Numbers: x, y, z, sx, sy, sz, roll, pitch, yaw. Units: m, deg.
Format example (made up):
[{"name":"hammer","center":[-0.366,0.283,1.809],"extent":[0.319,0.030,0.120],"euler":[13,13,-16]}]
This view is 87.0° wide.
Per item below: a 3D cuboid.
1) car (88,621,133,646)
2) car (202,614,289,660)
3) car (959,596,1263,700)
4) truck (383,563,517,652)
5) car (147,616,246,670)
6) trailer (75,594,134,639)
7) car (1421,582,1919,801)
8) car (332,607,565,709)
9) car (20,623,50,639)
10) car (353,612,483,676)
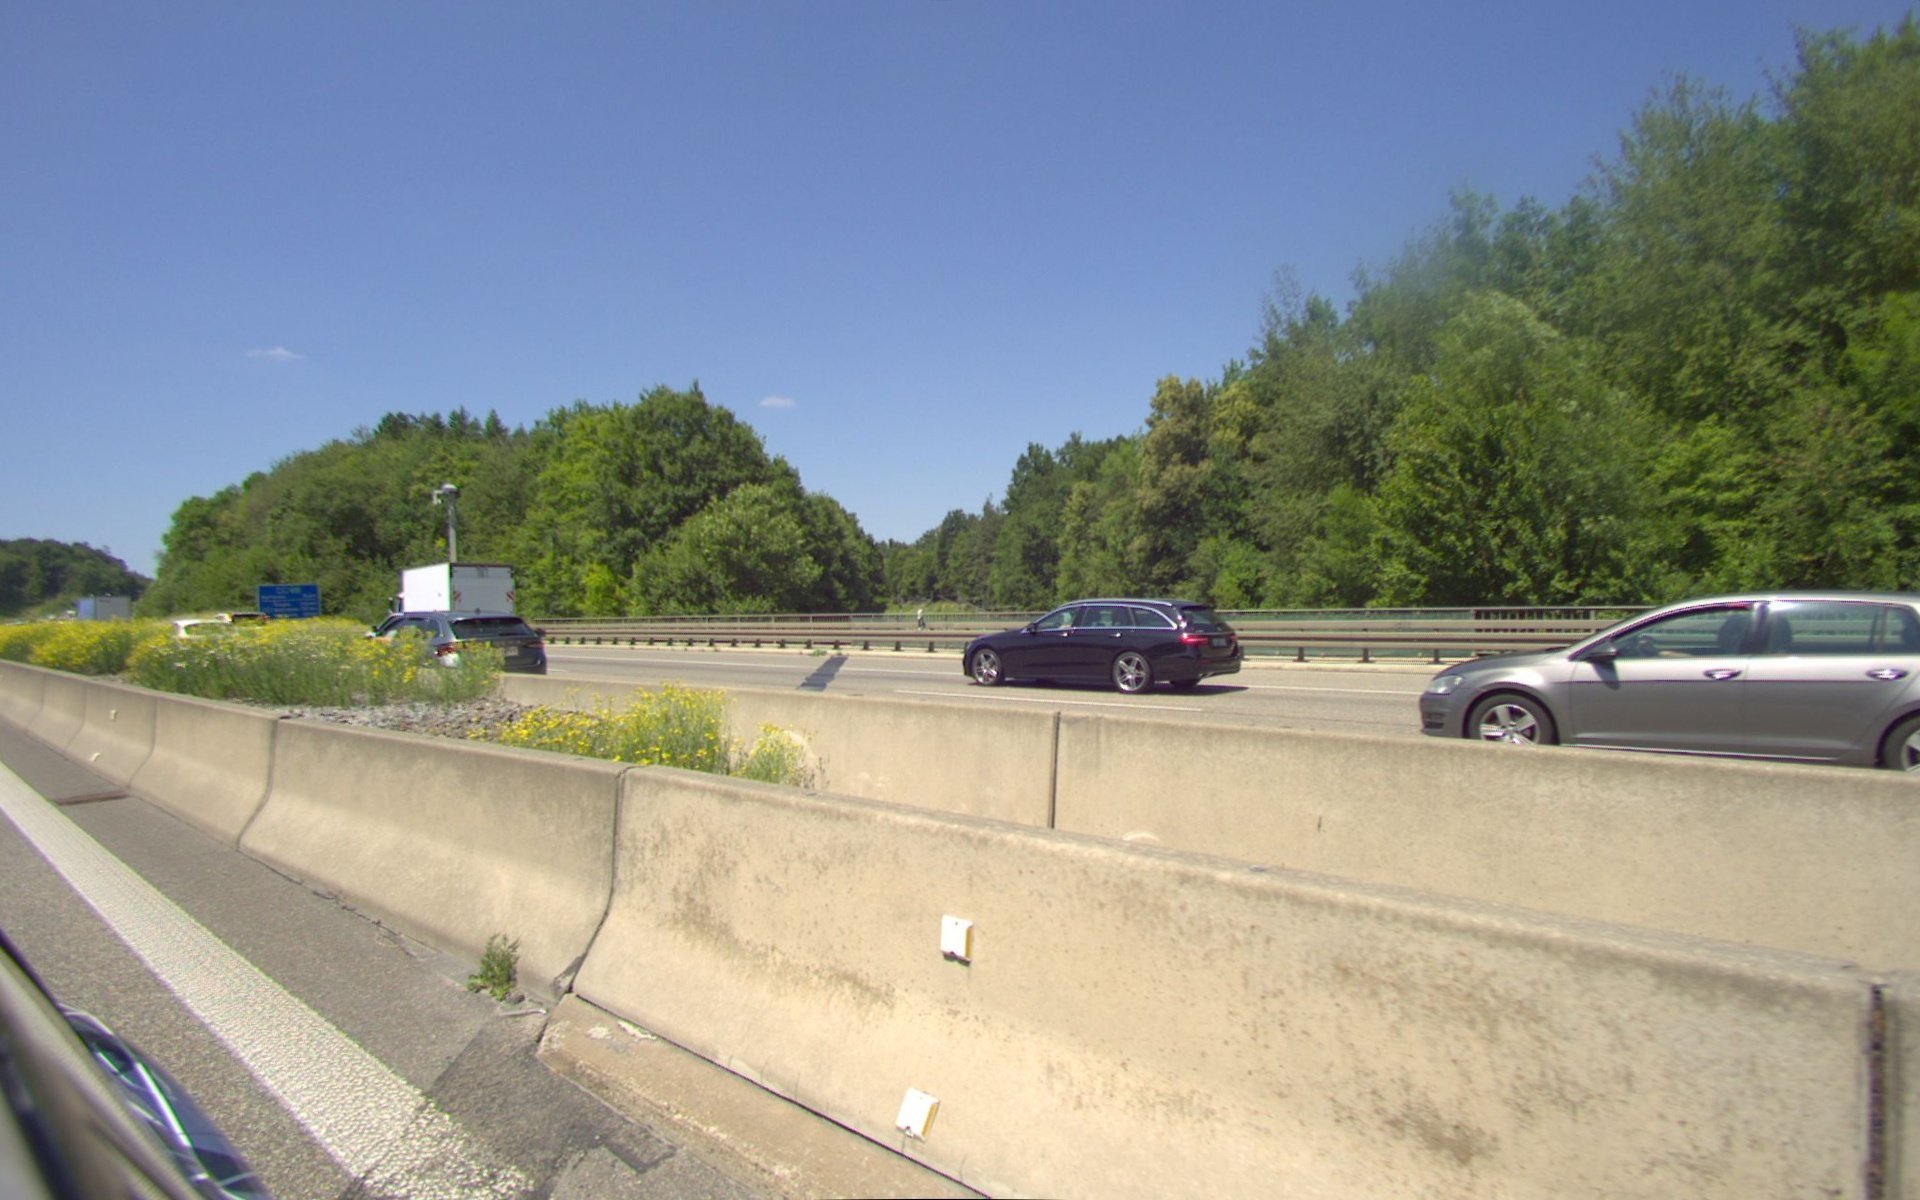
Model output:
[{"name":"car","center":[-55.810,2.188,66.496],"extent":[4.156,1.556,1.767],"euler":[-2,-1,43]},{"name":"car","center":[-28.681,1.457,40.558],"extent":[4.530,1.714,1.972],"euler":[-2,-1,43]},{"name":"car","center":[2.376,0.731,16.811],"extent":[4.689,1.492,1.972],"euler":[-2,-1,42]},{"name":"truck","center":[-21.912,0.375,43.289],"extent":[7.314,3.501,2.706],"euler":[-2,-1,43]},{"name":"car","center":[-21.993,1.209,29.106],"extent":[4.036,1.438,1.614],"euler":[-2,-1,43]},{"name":"trailer","center":[-77.019,1.545,91.026],"extent":[10.168,3.886,2.751],"euler":[-2,-1,42]},{"name":"car","center":[6.135,0.613,7.939],"extent":[4.232,1.431,1.823],"euler":[-2,-1,42]},{"name":"car","center":[-8.301,0.861,16.227],"extent":[4.608,1.416,1.714],"euler":[-2,-2,41]},{"name":"car","center":[-98.579,3.295,107.819],"extent":[4.638,1.573,1.972],"euler":[-2,-1,42]},{"name":"car","center":[-14.332,1.123,26.686],"extent":[4.000,1.558,1.822],"euler":[-2,-1,43]}]
